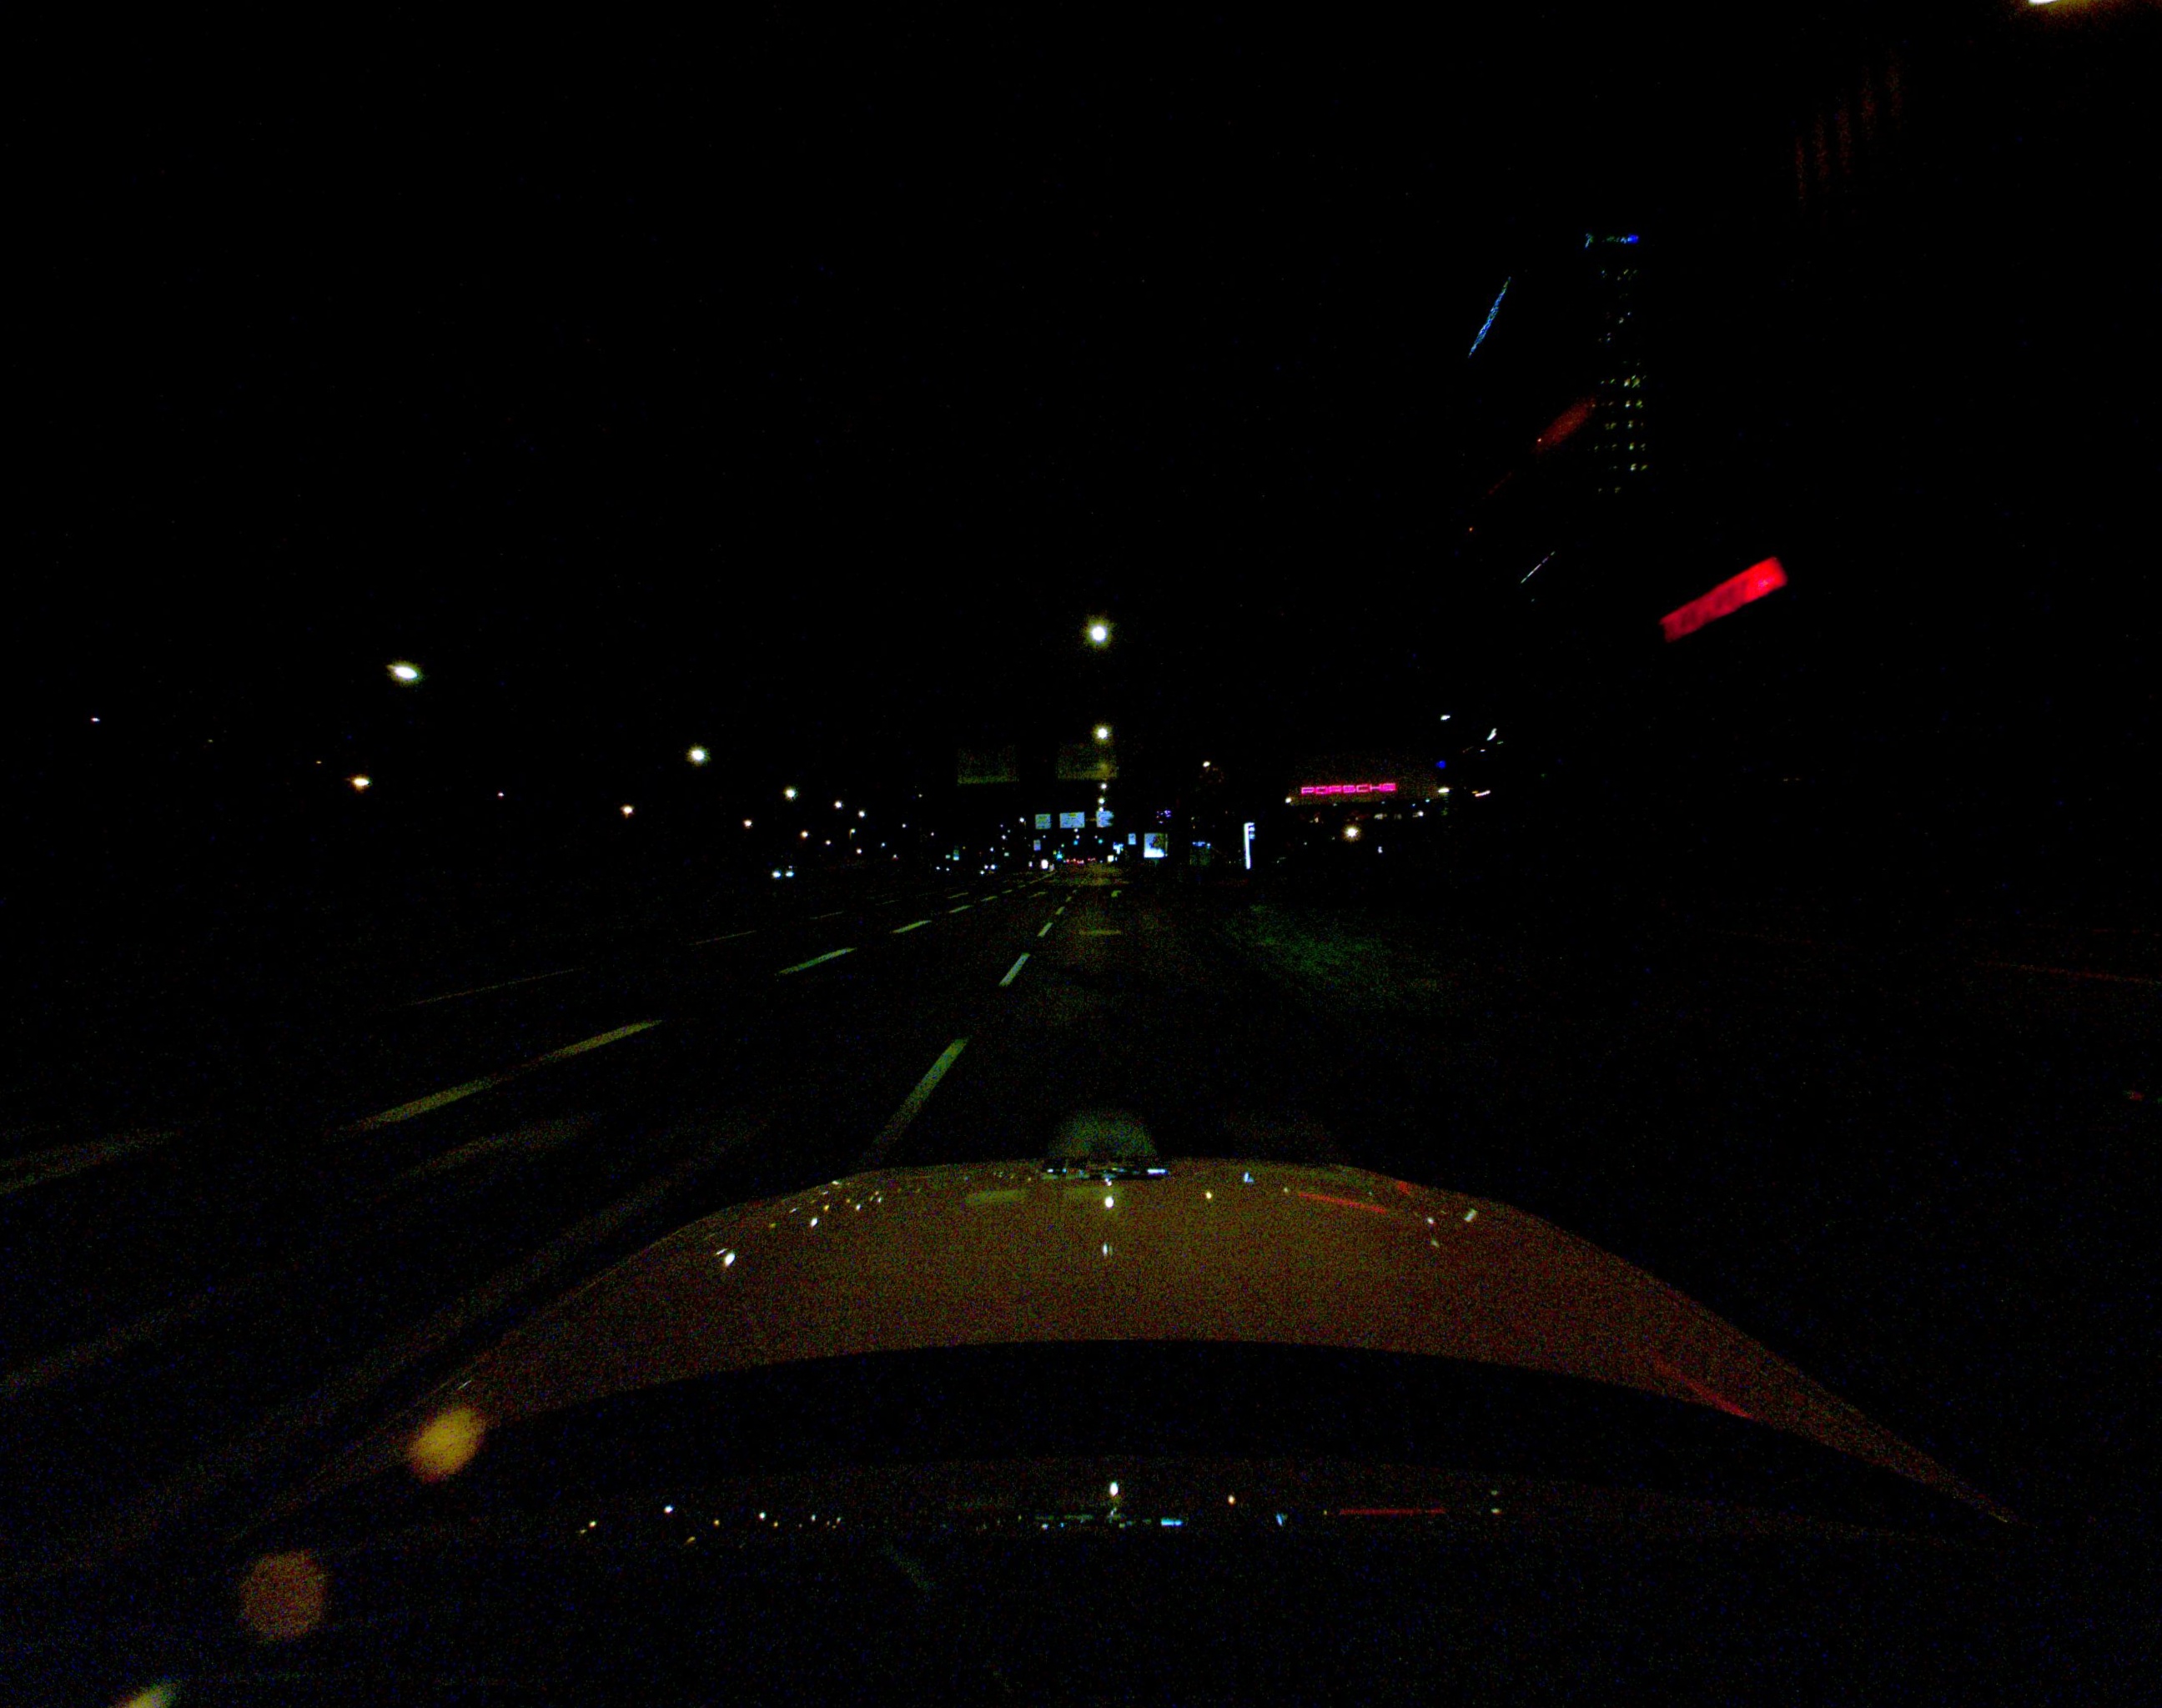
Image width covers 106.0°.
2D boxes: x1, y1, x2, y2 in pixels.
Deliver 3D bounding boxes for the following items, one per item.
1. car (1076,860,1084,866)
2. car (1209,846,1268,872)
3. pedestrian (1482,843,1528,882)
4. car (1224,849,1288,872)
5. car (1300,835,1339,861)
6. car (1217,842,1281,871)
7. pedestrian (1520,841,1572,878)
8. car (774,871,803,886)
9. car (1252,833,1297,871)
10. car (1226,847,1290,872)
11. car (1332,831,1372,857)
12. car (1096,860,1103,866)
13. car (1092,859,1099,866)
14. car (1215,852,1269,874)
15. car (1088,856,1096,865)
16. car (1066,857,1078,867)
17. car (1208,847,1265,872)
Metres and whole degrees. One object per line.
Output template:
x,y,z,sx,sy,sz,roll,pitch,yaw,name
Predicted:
-0.198,2.487,227.519,1.986,1.596,4.001,-2,-2,2,car
11.697,0.410,60.717,3.977,1.856,1.820,-1,-2,-2,car
11.780,0.242,22.616,0.902,1.038,0.776,-4,-2,45,pedestrian
11.454,0.420,53.394,3.813,1.411,1.710,-1,-2,-1,car
15.072,-0.364,51.649,1.881,1.511,3.644,-1,-2,9,car
11.441,0.179,55.766,3.977,1.856,1.820,-1,-2,-2,car
12.902,0.162,22.611,0.999,1.008,0.768,0,-2,-14,pedestrian
-31.061,2.620,86.500,1.619,1.481,3.681,-1,-2,2,car
10.711,-0.064,44.942,1.977,1.945,4.019,-1,-2,19,car
10.983,0.340,50.677,3.615,1.451,1.706,-1,-2,-2,car
17.535,-0.643,52.870,1.881,1.511,3.644,-1,-2,9,car
5.458,2.623,240.323,1.831,1.838,4.000,-1,-2,1,car
3.976,2.344,217.408,1.774,1.728,4.000,-1,-2,1,car
11.416,0.678,57.930,3.501,1.508,1.734,-1,-2,-2,car
2.775,1.644,203.210,1.986,2.014,4.000,-1,-2,1,car
-1.781,1.612,162.526,1.959,1.711,4.004,-1,-2,4,car
11.960,0.443,62.774,3.977,1.856,1.820,-1,-2,-2,car
